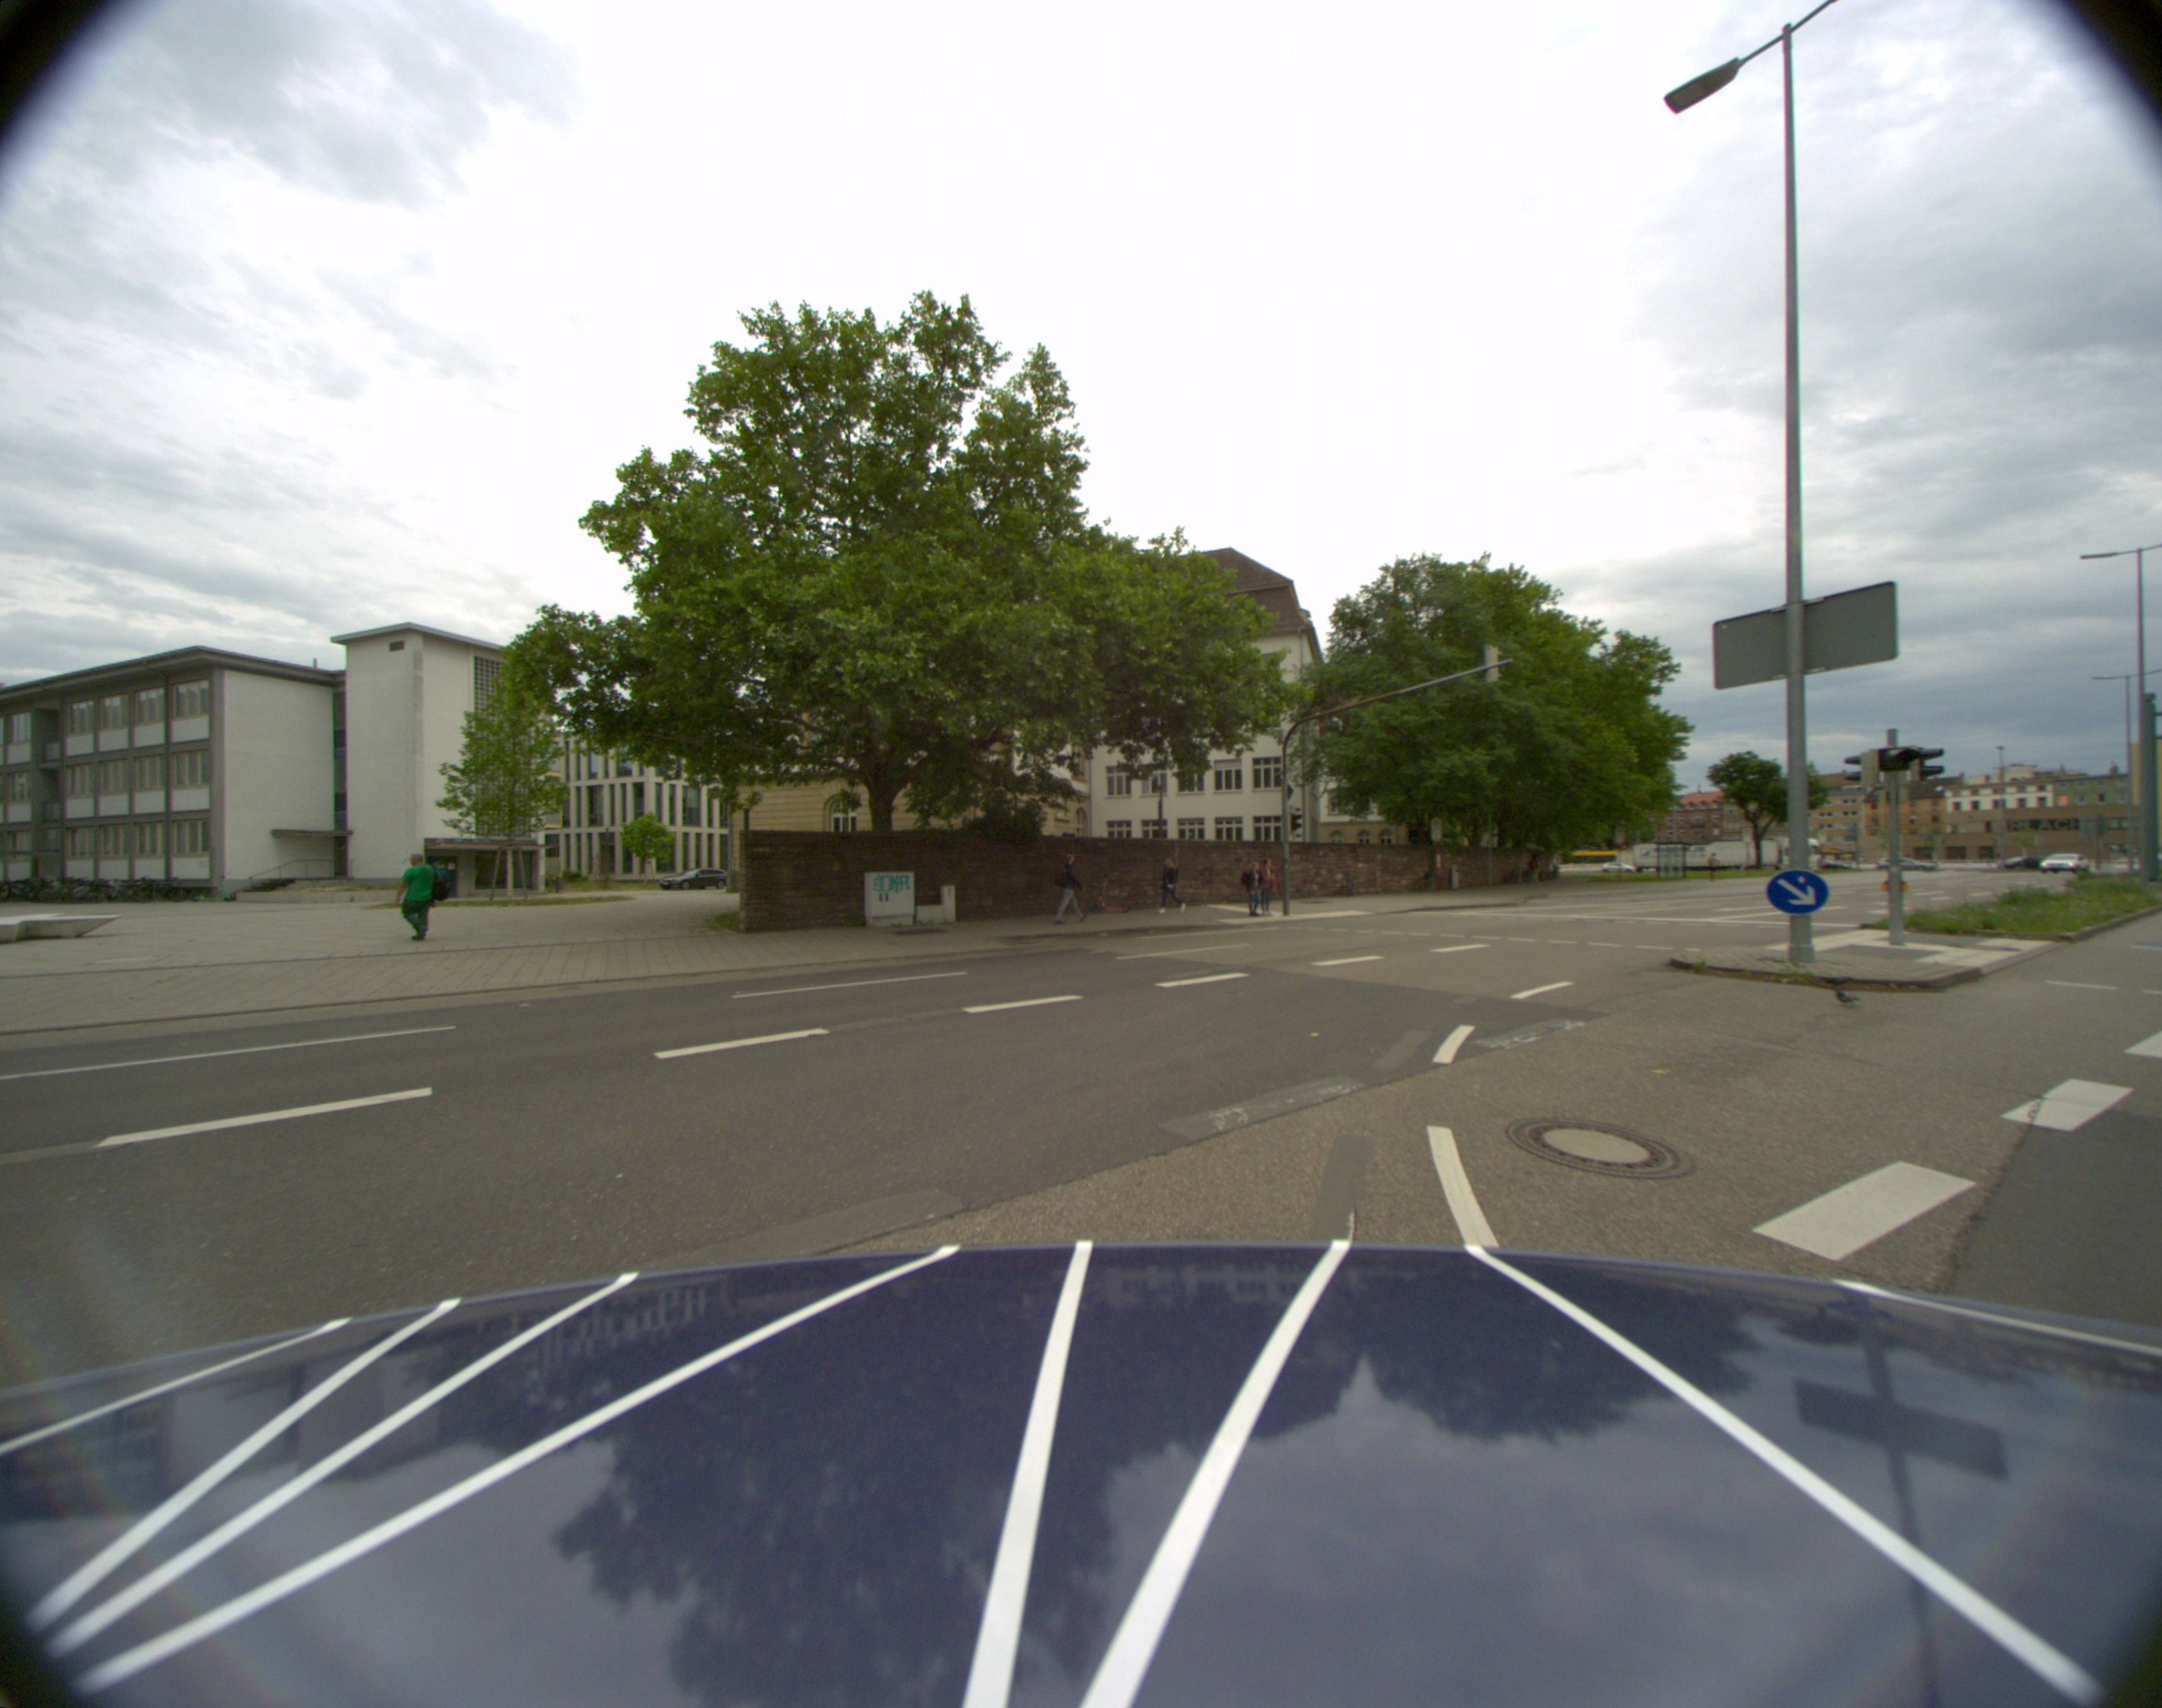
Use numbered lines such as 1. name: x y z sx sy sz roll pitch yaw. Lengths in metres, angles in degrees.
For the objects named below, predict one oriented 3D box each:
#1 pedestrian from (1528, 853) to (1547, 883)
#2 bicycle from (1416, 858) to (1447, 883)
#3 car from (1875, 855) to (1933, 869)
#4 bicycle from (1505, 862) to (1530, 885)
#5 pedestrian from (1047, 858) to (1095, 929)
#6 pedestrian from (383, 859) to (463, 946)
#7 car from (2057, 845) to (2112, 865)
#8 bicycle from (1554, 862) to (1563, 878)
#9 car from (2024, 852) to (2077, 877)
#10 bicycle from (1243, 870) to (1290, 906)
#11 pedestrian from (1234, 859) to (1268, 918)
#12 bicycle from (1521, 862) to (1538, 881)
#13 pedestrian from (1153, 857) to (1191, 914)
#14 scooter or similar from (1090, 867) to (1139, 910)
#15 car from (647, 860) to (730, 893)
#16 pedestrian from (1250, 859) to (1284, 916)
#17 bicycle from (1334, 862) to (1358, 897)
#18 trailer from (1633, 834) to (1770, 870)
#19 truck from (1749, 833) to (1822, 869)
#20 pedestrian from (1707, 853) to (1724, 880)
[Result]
1. pedestrian: 26.737 0.825 44.503 0.789 1.749 0.775 0 0 42
2. bicycle: 16.810 0.789 36.427 0.663 1.141 2.160 1 1 44
3. car: 87.305 0.830 80.622 2.004 1.368 3.990 -1 0 -36
4. bicycle: 25.995 1.128 45.223 0.663 1.258 2.548 1 2 44
5. pedestrian: -0.259 1.009 19.927 1.008 1.779 0.755 -1 2 -36
6. pedestrian: -13.508 0.963 15.610 0.904 1.704 0.953 0 0 26
7. car: 104.896 0.094 79.445 4.001 2.002 1.998 0 0 -13
8. bicycle: 36.660 1.248 58.361 0.506 1.141 2.252 1 1 34
9. car: 79.714 0.860 62.436 5.382 1.687 2.044 -3 -2 -32
10. bicycle: 6.710 1.195 27.430 2.160 1.178 0.581 -1 2 -44
11. pedestrian: 5.123 1.017 22.851 0.672 1.729 0.733 -1 1 -38
12. bicycle: 28.461 1.083 48.199 0.506 1.141 2.252 1 1 42
13. pedestrian: 2.812 0.962 23.613 0.810 1.656 0.788 -1 4 -35
14. scooter or similar: 1.008 1.034 22.999 1.414 1.223 0.494 -1 2 -17
15. car: -25.632 1.445 49.797 1.997 1.571 4.408 -12 -3 21
16. pedestrian: 5.694 1.018 23.286 0.644 1.684 0.777 -1 2 -36
17. bicycle: 11.048 1.032 31.610 0.668 1.372 2.590 0 0 25
18. trailer: 73.922 -0.122 90.965 2.849 3.801 12.344 -3 0 -36
19. truck: 78.452 -0.301 84.679 2.849 3.801 5.437 -3 1 -37
20. pedestrian: 40.855 0.792 48.936 0.709 1.695 0.641 -1 0 -35
